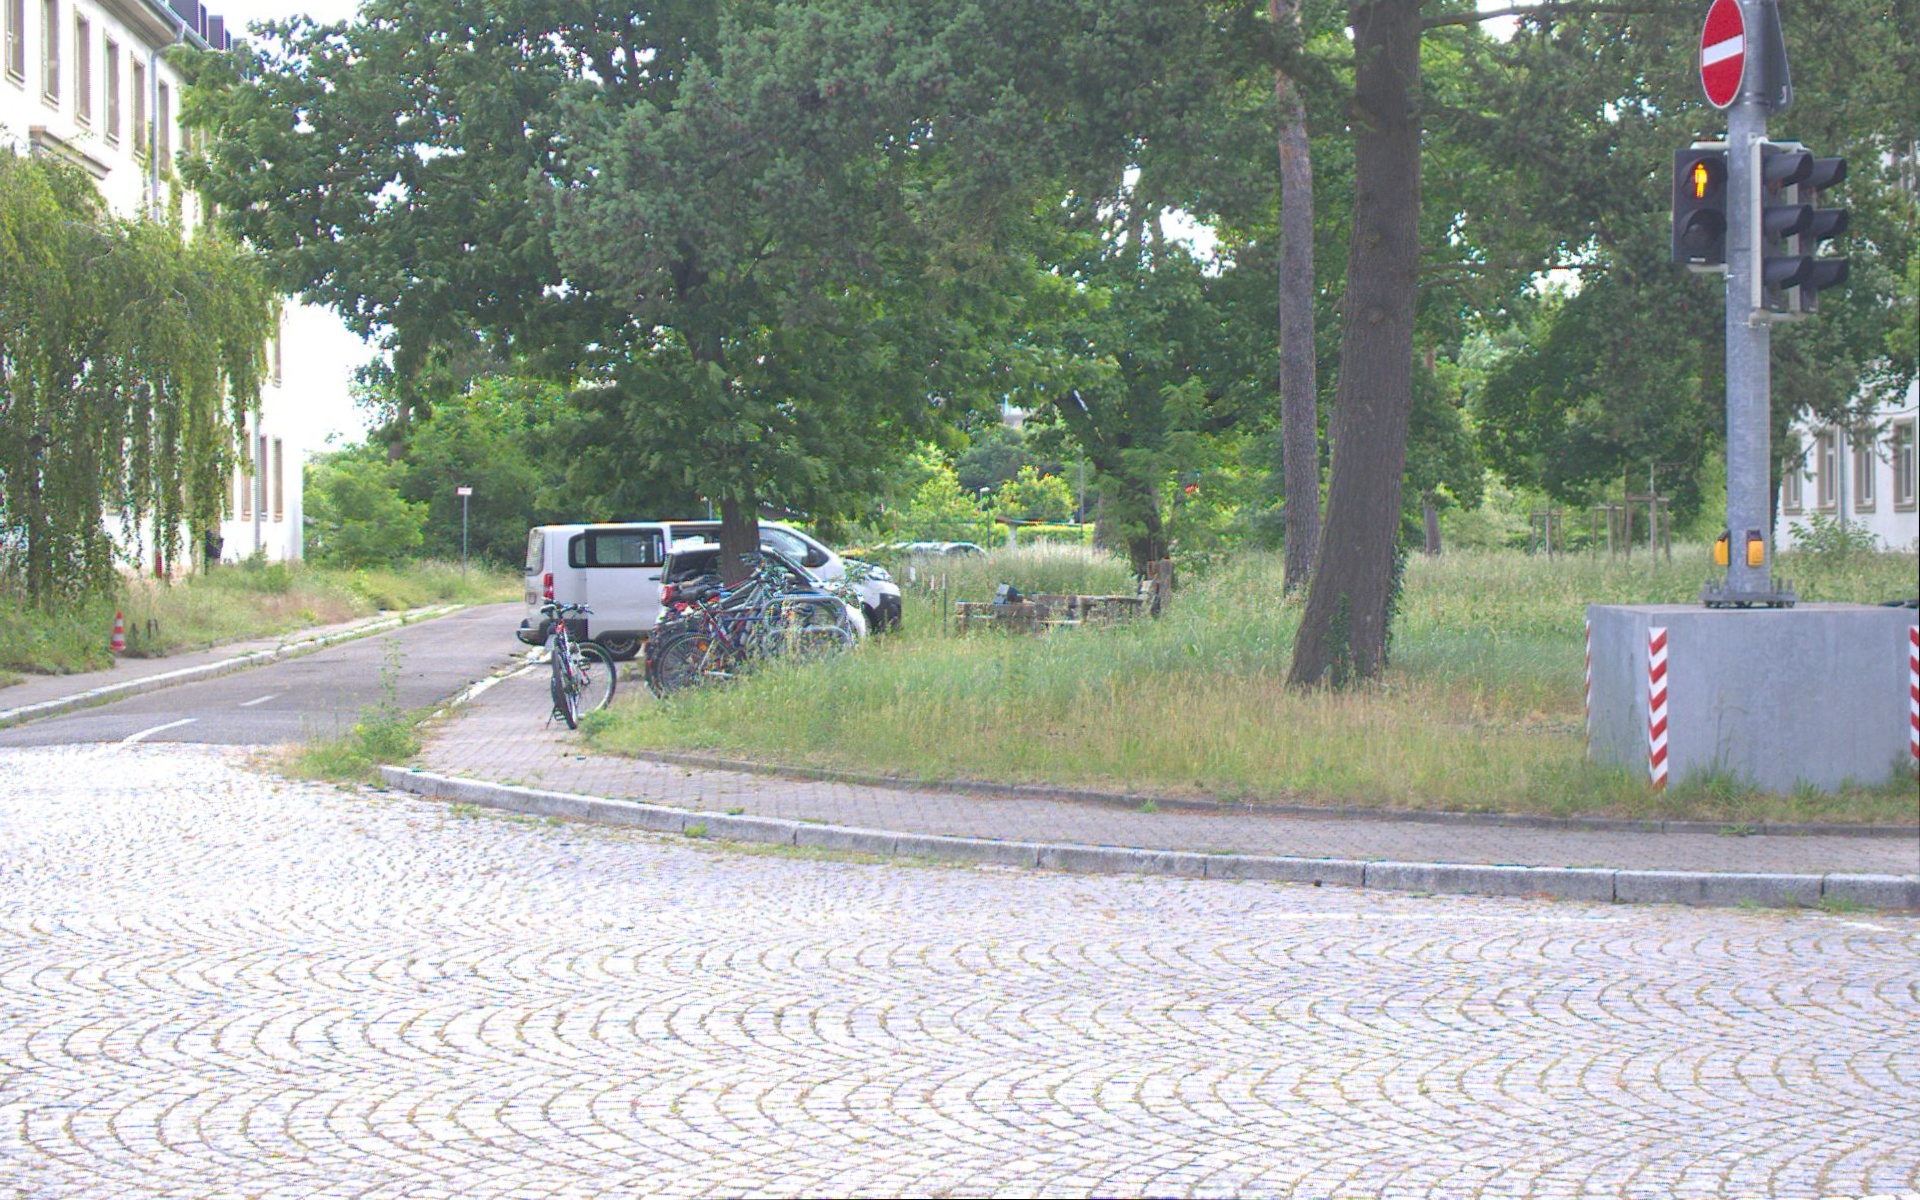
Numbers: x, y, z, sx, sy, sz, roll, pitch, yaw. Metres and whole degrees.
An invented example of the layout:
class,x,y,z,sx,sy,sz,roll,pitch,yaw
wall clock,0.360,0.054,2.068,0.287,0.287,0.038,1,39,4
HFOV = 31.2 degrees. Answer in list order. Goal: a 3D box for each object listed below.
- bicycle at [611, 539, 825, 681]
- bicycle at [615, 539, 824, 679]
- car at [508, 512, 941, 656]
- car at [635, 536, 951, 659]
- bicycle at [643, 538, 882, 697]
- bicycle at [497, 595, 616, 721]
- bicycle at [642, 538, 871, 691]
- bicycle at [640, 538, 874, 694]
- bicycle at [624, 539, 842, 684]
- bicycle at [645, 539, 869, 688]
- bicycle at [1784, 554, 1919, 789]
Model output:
class,x,y,z,sx,sy,sz,roll,pitch,yaw
bicycle,-2.373,0.091,33.809,2.069,1.373,0.620,0,1,-3
bicycle,-2.406,0.083,34.555,2.069,1.373,0.620,0,1,-3
car,-3.314,-0.255,48.040,5.690,1.904,2.231,-1,1,-15
car,-2.209,-0.053,44.724,3.931,1.539,2.001,0,1,-8
bicycle,-1.728,0.144,30.208,2.069,1.373,0.620,0,1,-3
bicycle,-3.309,0.460,28.332,0.618,0.960,2.076,0,1,3
bicycle,-1.857,0.128,31.499,2.069,1.373,0.620,0,1,-3
bicycle,-1.814,0.135,30.875,2.069,1.373,0.620,0,1,-3
bicycle,-2.175,0.102,33.080,2.069,1.373,0.620,0,1,-3
bicycle,-1.899,0.119,32.294,2.069,1.373,0.620,0,1,-3
bicycle,5.118,0.349,18.272,0.908,1.173,1.875,0,1,-4
